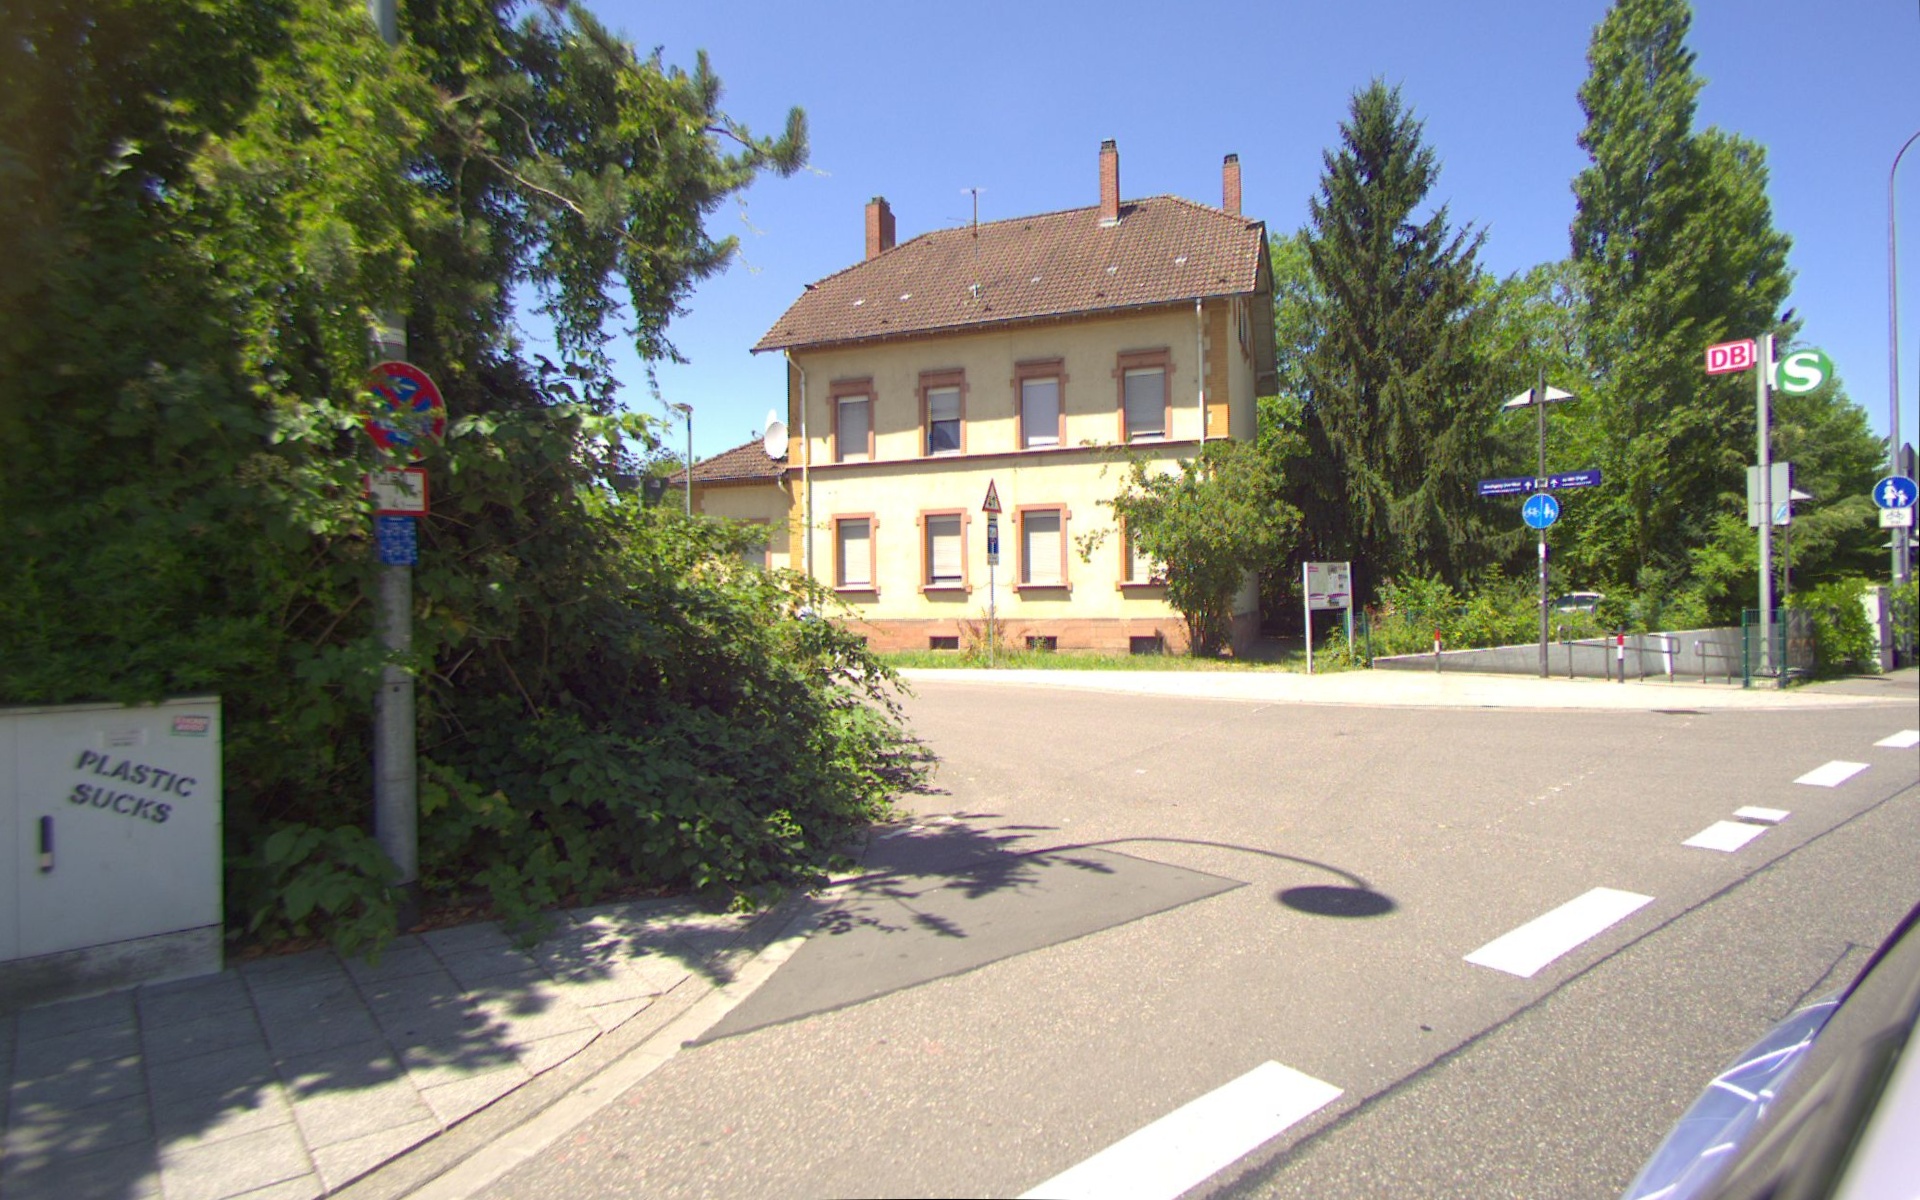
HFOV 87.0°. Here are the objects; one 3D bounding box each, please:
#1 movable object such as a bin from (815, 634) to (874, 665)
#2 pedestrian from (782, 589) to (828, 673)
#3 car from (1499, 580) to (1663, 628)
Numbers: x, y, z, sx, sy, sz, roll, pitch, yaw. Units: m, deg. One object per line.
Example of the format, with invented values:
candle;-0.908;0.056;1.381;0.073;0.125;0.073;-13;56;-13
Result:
movable object such as a bin;-2.503;1.062;21.839;1.235;0.602;0.510;-1;0;35
pedestrian;-3.157;0.619;20.570;0.687;1.648;0.617;-1;0;-36
car;20.942;0.151;34.353;4.446;1.518;1.757;-1;0;22
